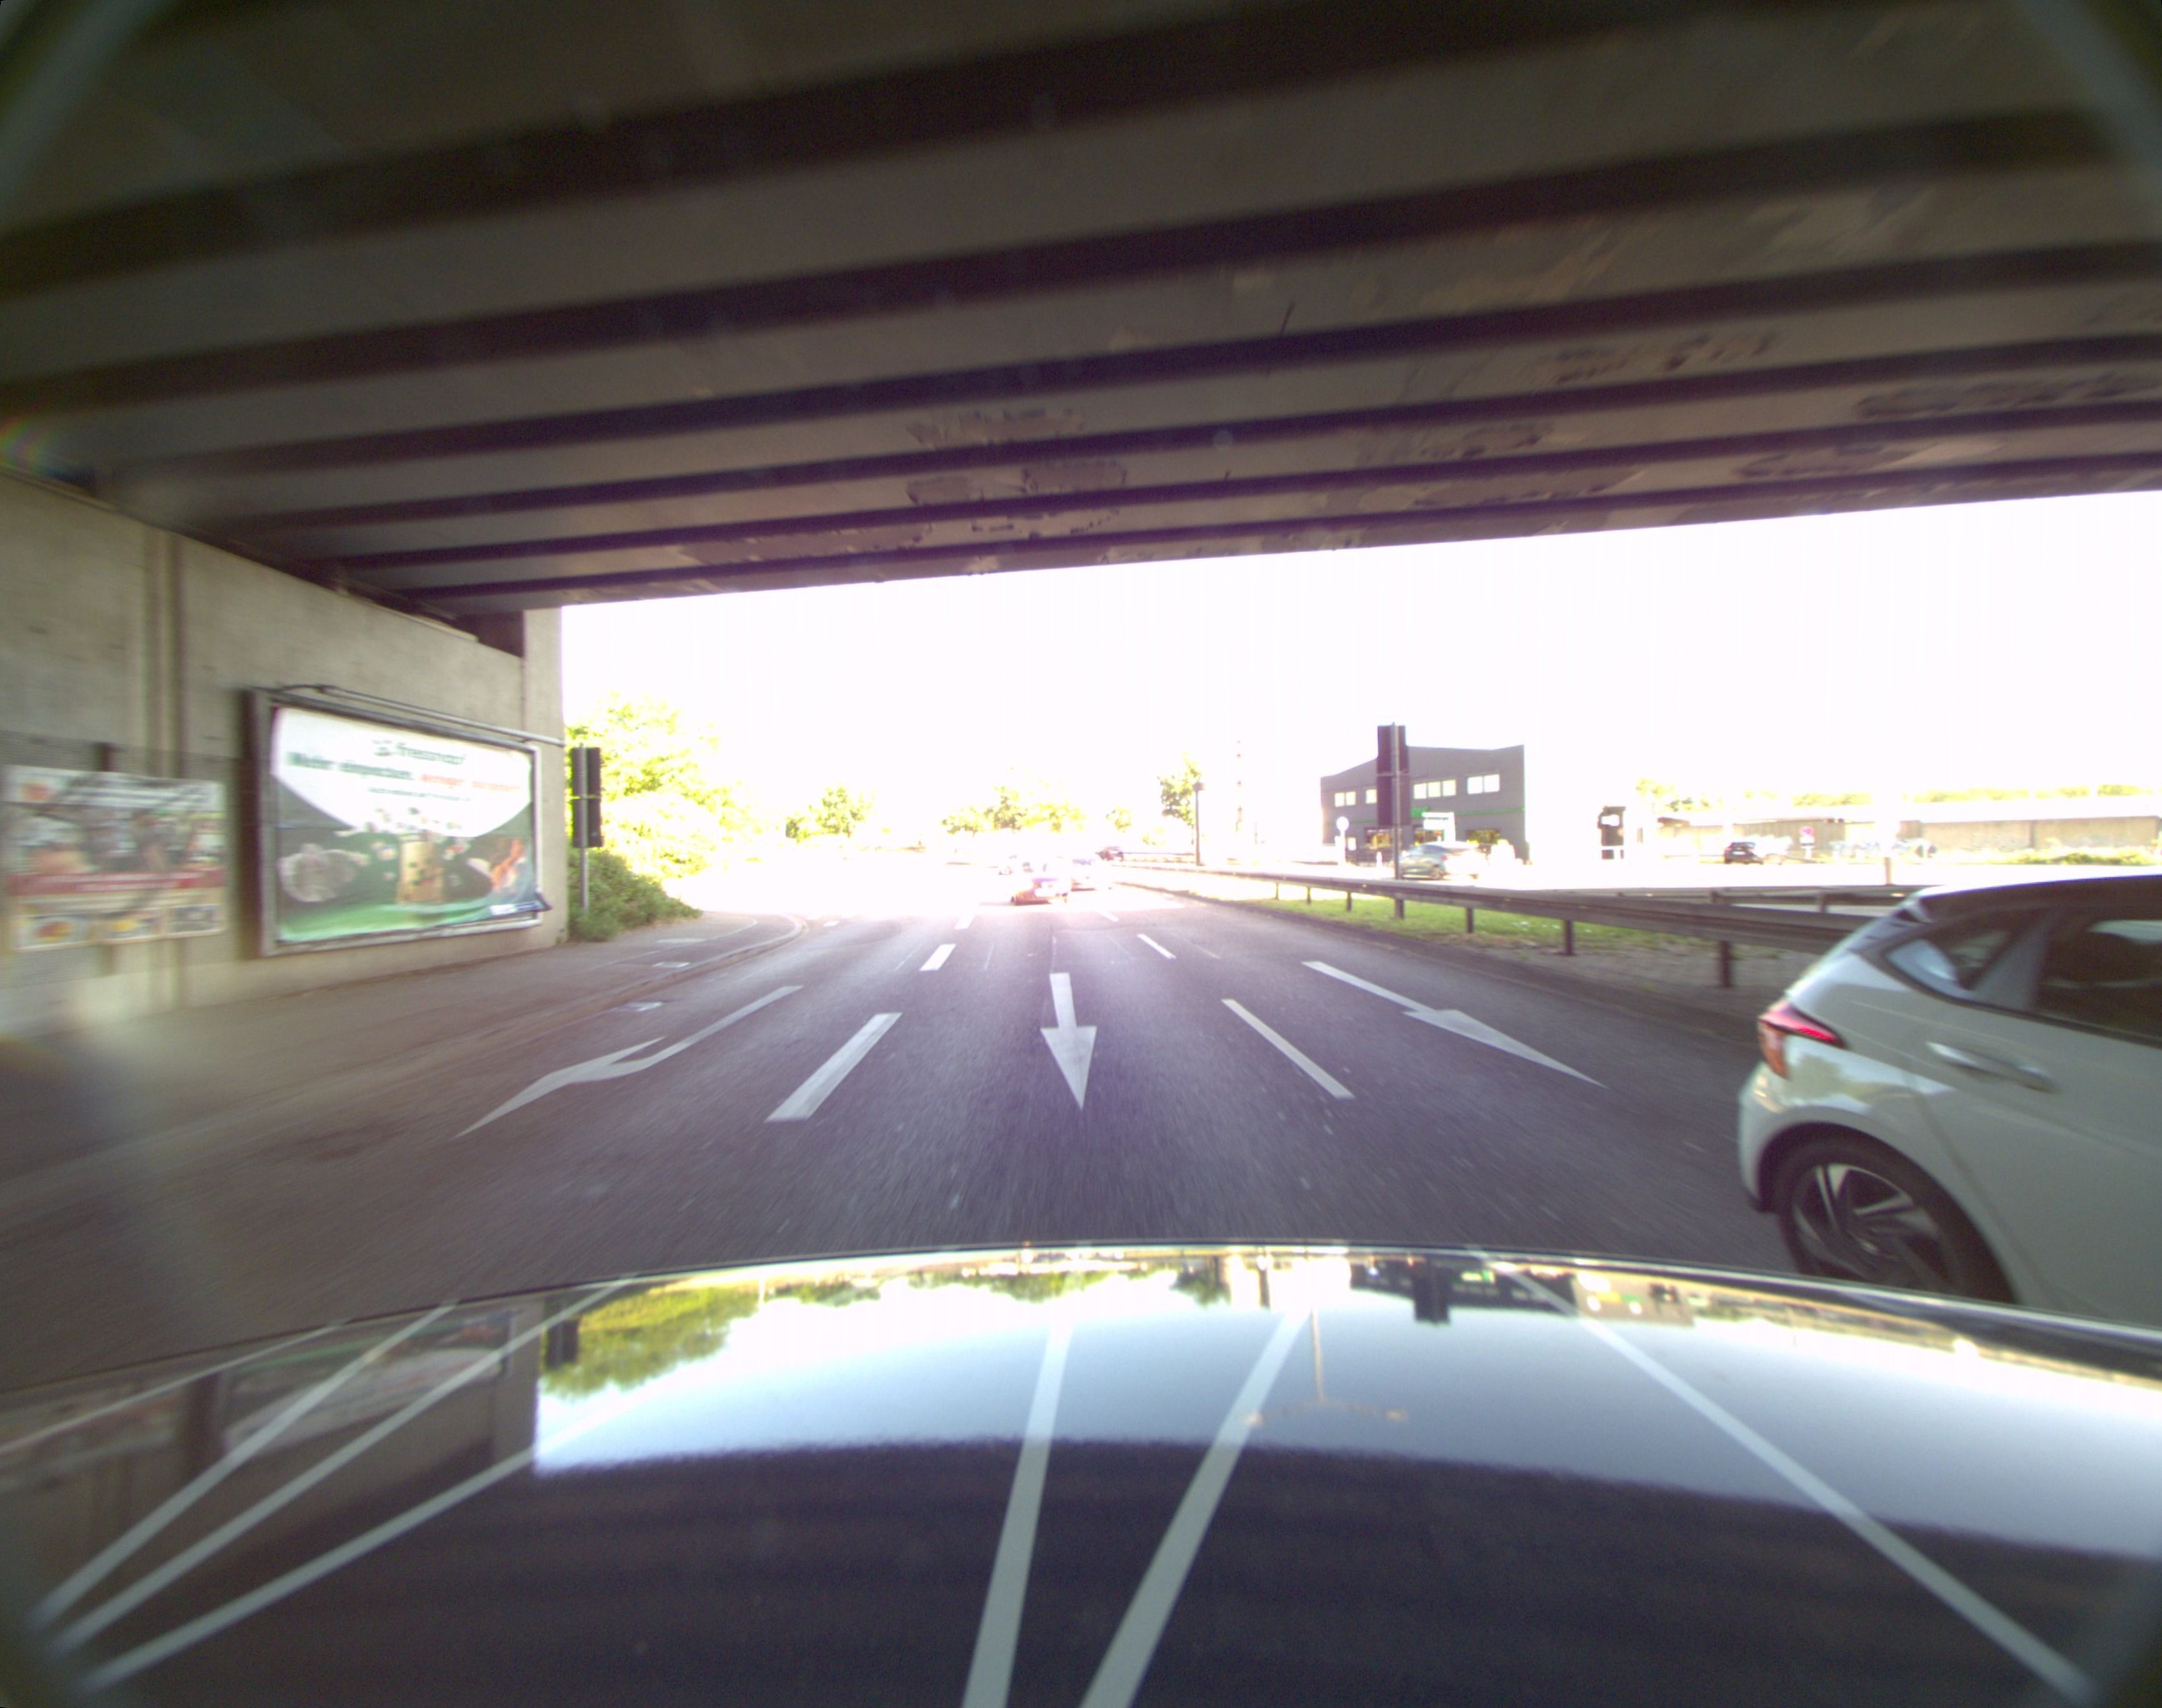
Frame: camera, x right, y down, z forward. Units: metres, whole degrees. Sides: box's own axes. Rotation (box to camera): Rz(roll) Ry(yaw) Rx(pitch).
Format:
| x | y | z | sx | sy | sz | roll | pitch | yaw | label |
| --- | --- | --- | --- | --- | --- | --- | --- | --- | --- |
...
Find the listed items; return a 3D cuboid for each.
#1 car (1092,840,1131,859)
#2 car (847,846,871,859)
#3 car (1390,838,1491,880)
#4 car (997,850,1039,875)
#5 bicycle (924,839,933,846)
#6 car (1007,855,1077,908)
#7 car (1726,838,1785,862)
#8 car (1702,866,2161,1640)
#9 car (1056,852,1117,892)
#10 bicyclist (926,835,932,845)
| x | y | z | sx | sy | sz | roll | pitch | yaw | label |
| --- | --- | --- | --- | --- | --- | --- | --- | --- | --- |
| 2.608 | -0.358 | 65.990 | 1.833 | 1.578 | 4.174 | -1 | 0 | -23 | car |
| -25.983 | -0.170 | 88.748 | 1.852 | 1.474 | 3.973 | -1 | -1 | -29 | car |
| 13.807 | 0.164 | 29.426 | 1.624 | 1.511 | 3.821 | -1 | 0 | -11 | car |
| -4.132 | 0.484 | 49.173 | 1.858 | 1.471 | 4.223 | -2 | 1 | -16 | car |
| -23.540 | -1.772 | 117.343 | 0.595 | 1.017 | 1.745 | -4 | 2 | -41 | bicycle |
| -1.305 | 0.801 | 23.691 | 1.739 | 1.412 | 4.316 | -3 | -1 | -8 | car |
| 38.268 | -0.217 | 43.100 | 4.191 | 1.274 | 1.825 | 1 | 1 | -39 | car |
| 3.012 | 0.830 | 0.630 | 1.737 | 1.471 | 3.990 | -2 | 1 | 0 | car |
| 0.156 | 0.687 | 30.641 | 1.850 | 1.412 | 3.978 | -1 | 1 | -8 | car |
| -23.512 | -2.181 | 117.292 | 0.595 | 1.419 | 0.707 | -4 | 2 | -40 | bicyclist |
